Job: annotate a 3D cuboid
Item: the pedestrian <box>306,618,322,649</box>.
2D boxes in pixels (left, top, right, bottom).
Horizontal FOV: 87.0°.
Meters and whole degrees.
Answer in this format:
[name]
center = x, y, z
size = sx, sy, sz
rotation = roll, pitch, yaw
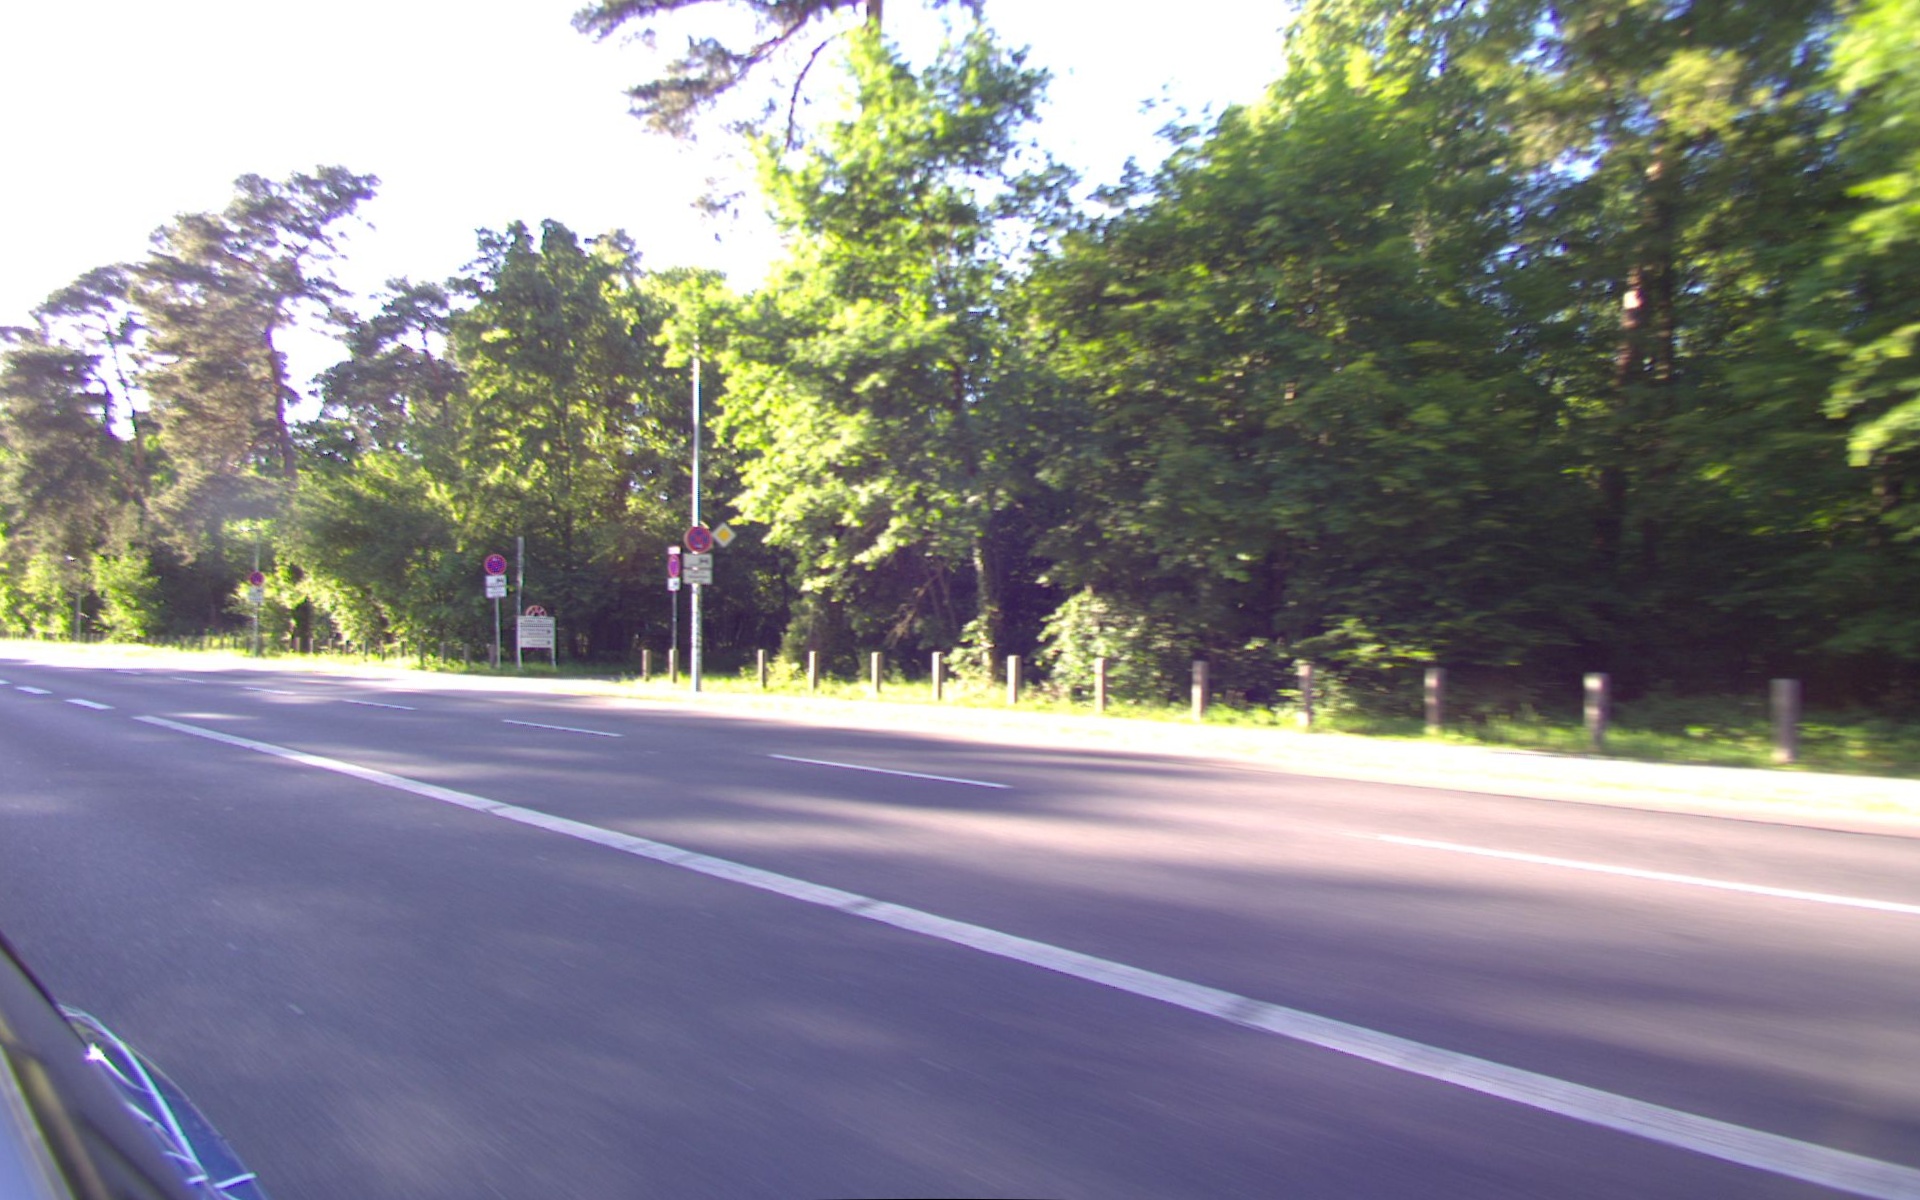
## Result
[pedestrian]
center = -28.064, 1.447, 43.964
size = 0.512, 1.325, 0.465
rotation = -1, -2, 40
